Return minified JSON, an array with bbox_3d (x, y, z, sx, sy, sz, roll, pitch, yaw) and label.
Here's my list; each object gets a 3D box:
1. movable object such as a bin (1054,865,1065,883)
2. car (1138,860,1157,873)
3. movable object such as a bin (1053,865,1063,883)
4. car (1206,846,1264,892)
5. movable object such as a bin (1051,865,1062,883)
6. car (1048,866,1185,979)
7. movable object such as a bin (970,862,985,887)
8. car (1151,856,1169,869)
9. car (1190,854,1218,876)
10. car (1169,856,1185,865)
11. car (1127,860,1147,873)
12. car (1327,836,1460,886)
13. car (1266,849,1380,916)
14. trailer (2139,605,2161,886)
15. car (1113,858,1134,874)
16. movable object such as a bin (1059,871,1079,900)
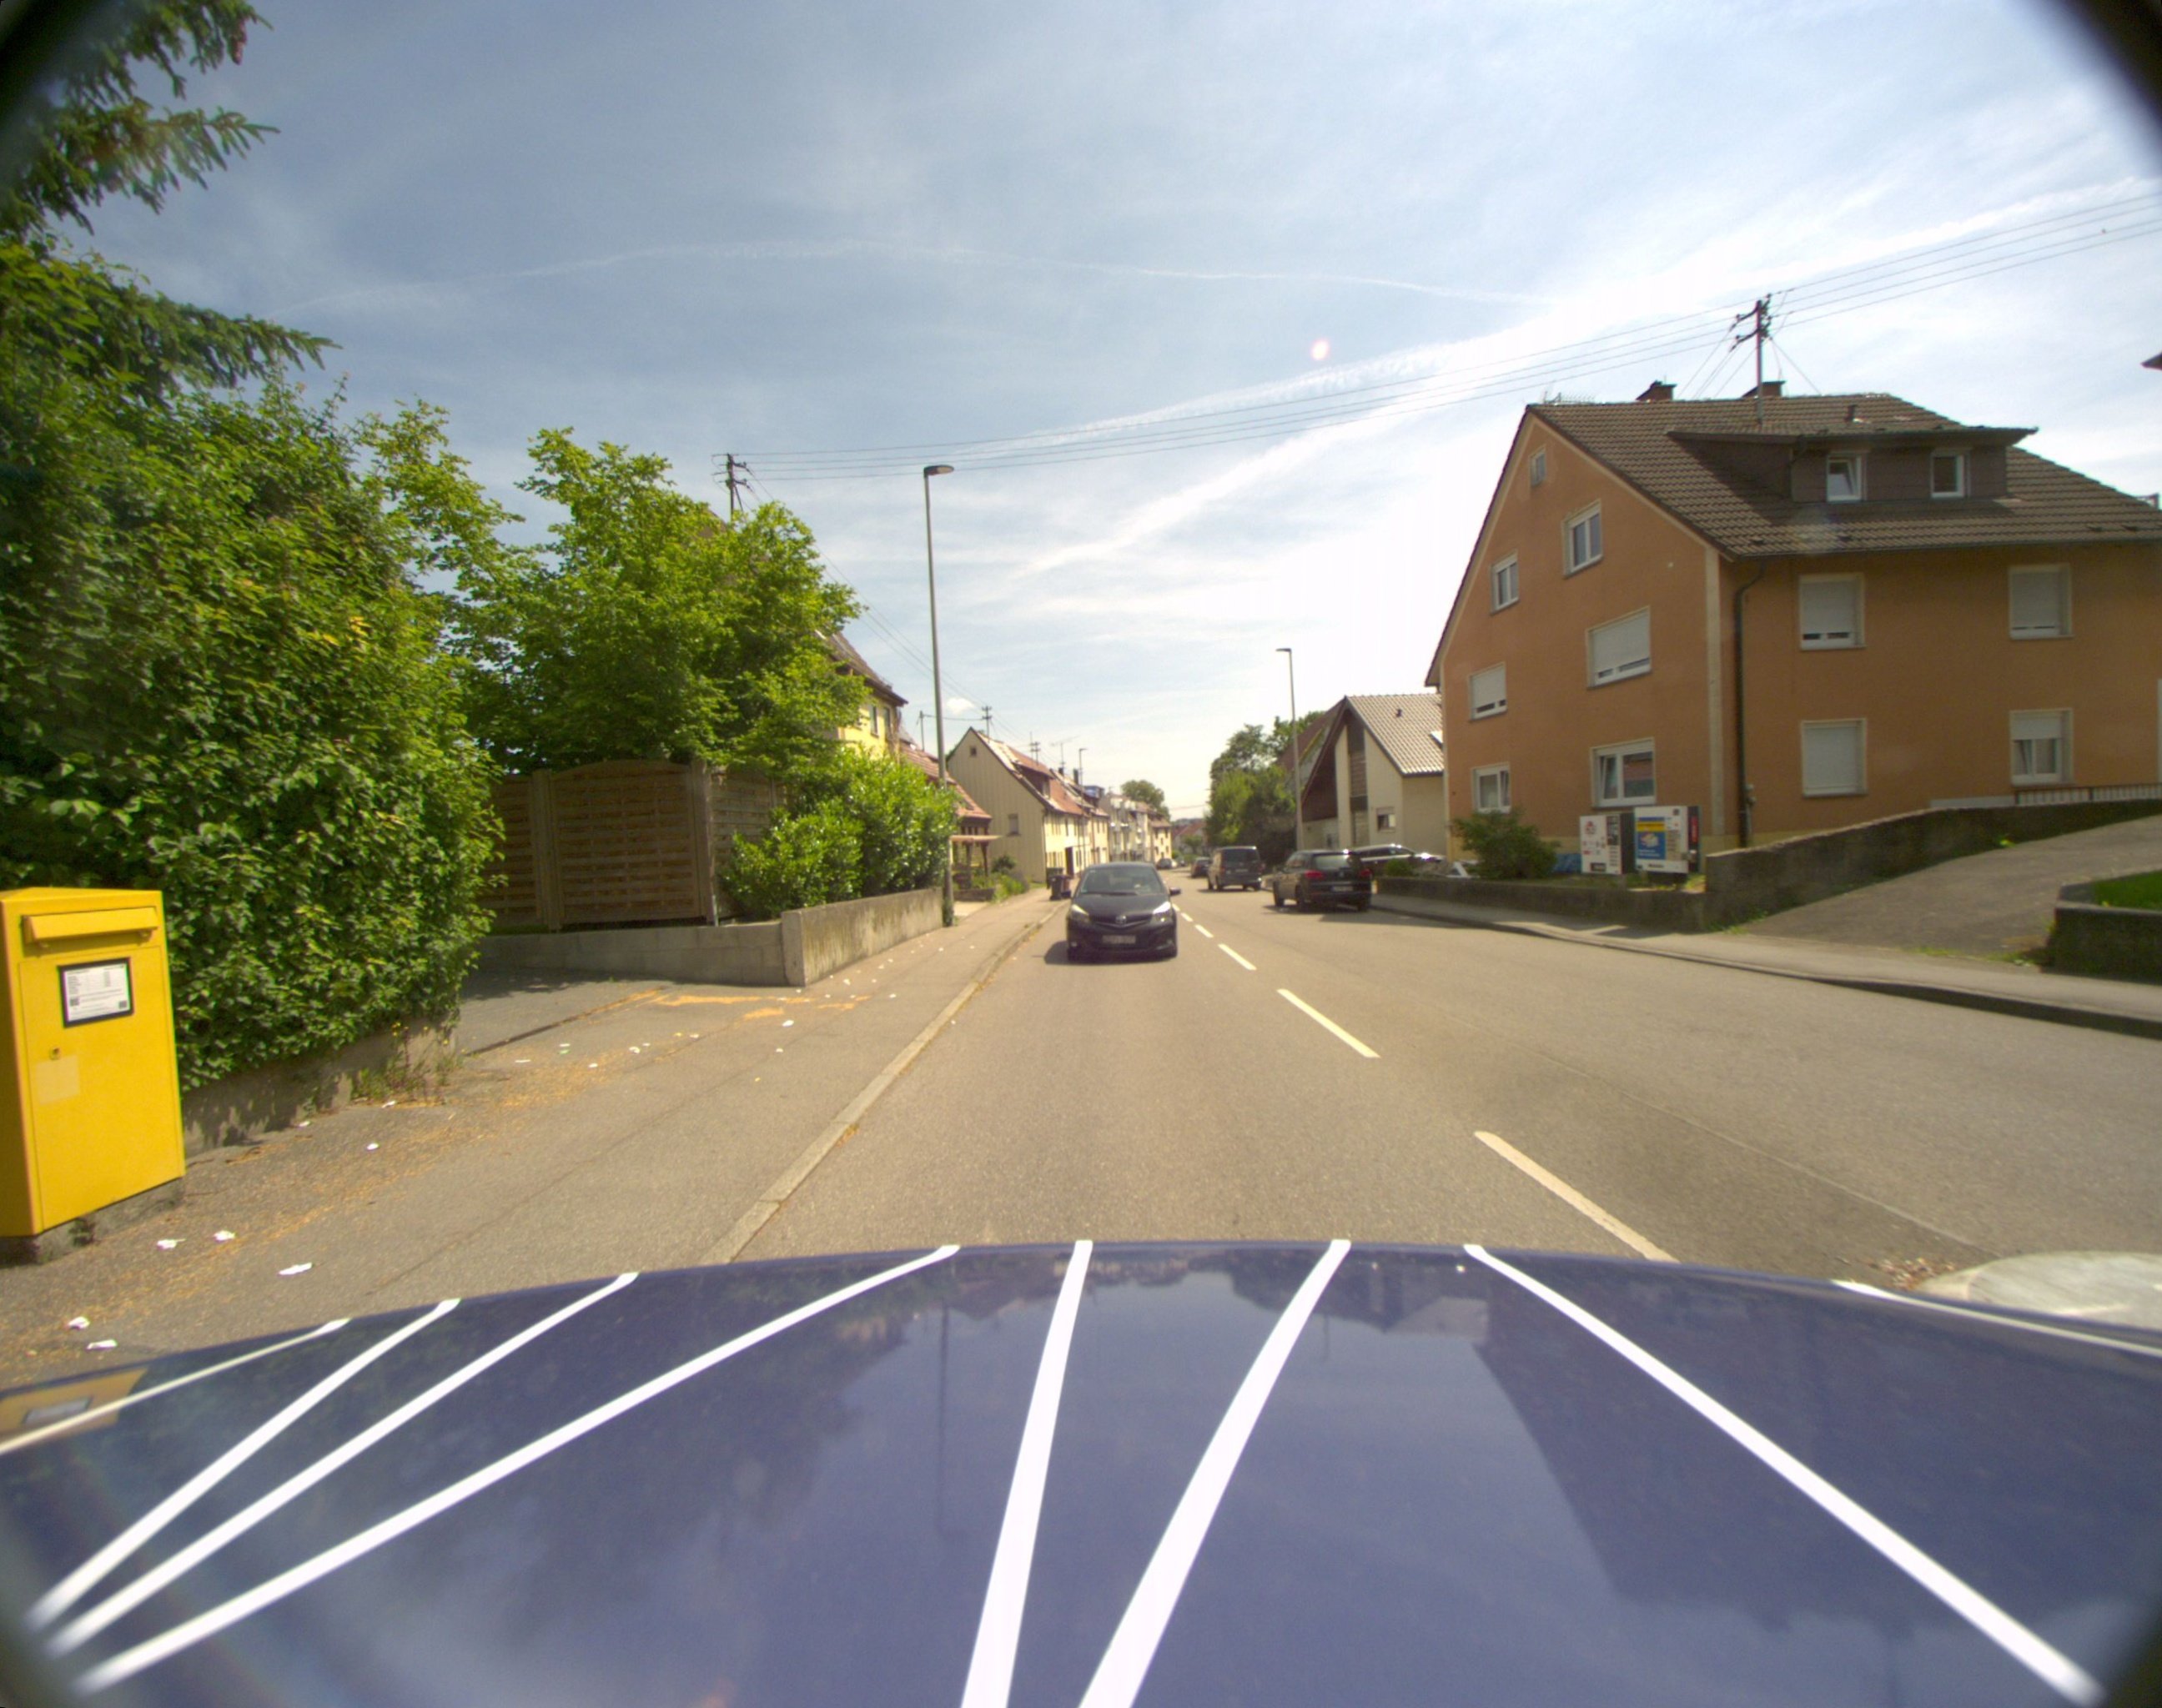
[{"bbox_3d":[-1.275,1.186,45.571,0.547,1.027,0.552,0,0,6],"label":"movable object such as a bin"},{"bbox_3d":[8.416,1.543,96.132,1.800,1.416,4.293,-1,0,12],"label":"car"},{"bbox_3d":[-1.355,1.183,44.988,0.547,1.027,0.552,0,0,6],"label":"movable object such as a bin"},{"bbox_3d":[6.950,0.614,34.797,1.895,1.926,4.987,-1,0,3],"label":"car"},{"bbox_3d":[-1.407,1.179,44.038,0.547,1.027,0.552,0,0,6],"label":"movable object such as a bin"},{"bbox_3d":[0.770,0.972,12.538,1.724,1.448,4.433,-2,0,9],"label":"car"},{"bbox_3d":[-4.807,0.950,35.433,0.536,1.151,0.549,4,1,1],"label":"movable object such as a bin"},{"bbox_3d":[11.303,1.225,108.269,1.956,1.706,4.721,-2,0,13],"label":"car"},{"bbox_3d":[9.071,0.800,56.448,1.823,1.464,4.778,-2,-1,6],"label":"car"},{"bbox_3d":[15.711,1.008,124.212,1.791,1.412,4.363,-2,0,16],"label":"car"},{"bbox_3d":[6.355,1.408,85.522,1.797,1.394,4.415,-1,0,11],"label":"car"},{"bbox_3d":[11.946,0.258,29.186,4.240,1.397,1.821,-6,0,-2],"label":"car"},{"bbox_3d":[6.520,0.710,20.973,1.773,1.626,4.288,-1,0,1],"label":"car"},{"bbox_3d":[11.817,-1.141,4.737,1.716,2.832,6.174,-3,0,0],"label":"trailer"},{"bbox_3d":[4.127,1.136,73.453,1.669,1.344,4.189,-3,0,8],"label":"car"},{"bbox_3d":[-0.448,1.146,27.927,0.494,1.027,0.549,2,1,27],"label":"movable object such as a bin"}]
